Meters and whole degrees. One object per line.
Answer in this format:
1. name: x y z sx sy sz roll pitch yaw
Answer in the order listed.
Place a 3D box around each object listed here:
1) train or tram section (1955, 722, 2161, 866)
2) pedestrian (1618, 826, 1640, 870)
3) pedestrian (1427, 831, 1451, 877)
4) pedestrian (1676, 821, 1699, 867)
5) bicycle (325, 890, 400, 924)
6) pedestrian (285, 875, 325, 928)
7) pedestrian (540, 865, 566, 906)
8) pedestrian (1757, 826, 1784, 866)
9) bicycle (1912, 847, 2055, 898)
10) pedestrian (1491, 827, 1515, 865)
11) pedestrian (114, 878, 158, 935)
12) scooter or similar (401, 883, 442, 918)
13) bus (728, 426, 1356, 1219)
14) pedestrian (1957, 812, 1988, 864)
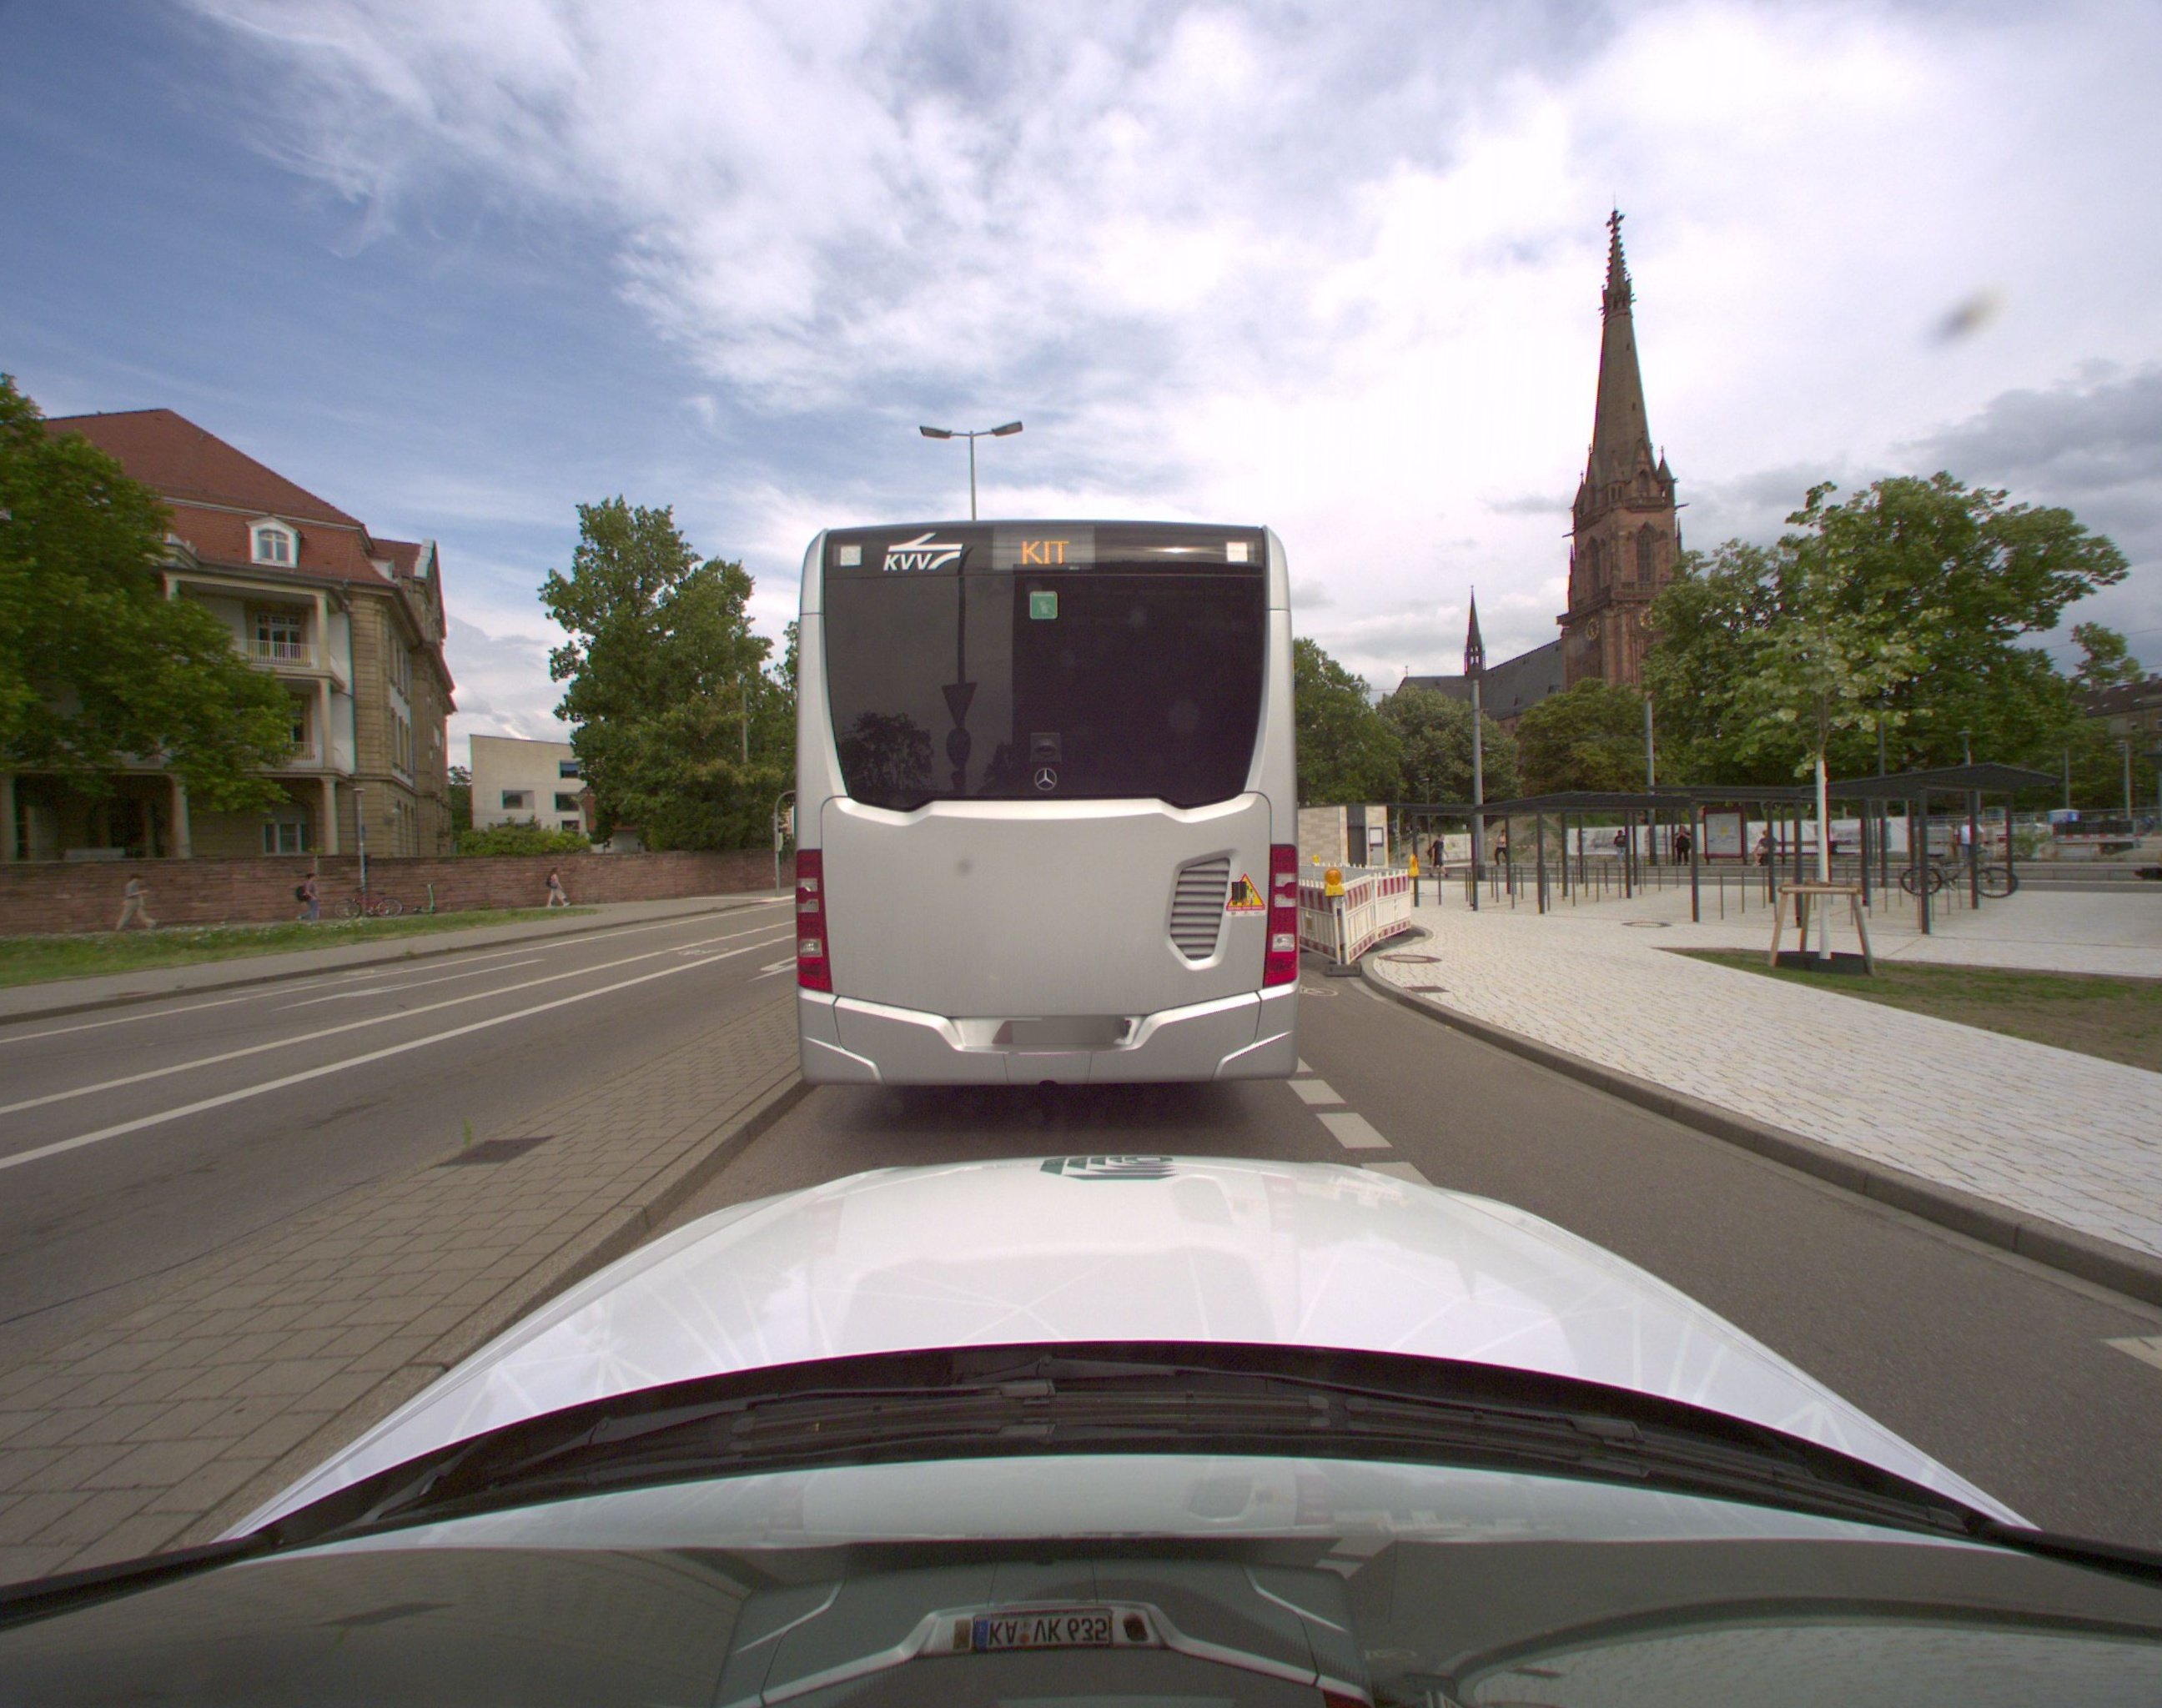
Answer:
1. train or tram section: 26.788 -1.415 18.393 3.076 3.276 9.270 -3 3 -35
2. pedestrian: 23.238 -0.257 34.510 0.526 1.800 0.670 -4 3 -42
3. pedestrian: 13.365 -0.005 30.388 0.534 1.654 0.623 -3 3 -36
4. pedestrian: 24.476 -0.411 32.861 0.526 1.800 0.670 -4 3 -42
5. bicycle: -25.700 1.884 29.166 1.937 1.005 0.770 -4 3 -42
6. pedestrian: -25.757 1.561 27.034 0.570 1.654 0.787 0 3 33
7. pedestrian: -21.838 1.290 33.683 0.525 1.654 0.634 0 3 31
8. pedestrian: 26.062 -0.307 30.785 0.694 1.485 0.670 -4 3 -42
9. bicycle: 18.739 0.347 16.959 0.587 0.955 1.944 -3 3 -38
10. pedestrian: 20.232 -0.391 39.048 0.816 1.800 0.755 -1 2 11
11. pedestrian: -29.203 1.610 25.178 0.570 1.654 0.787 0 3 38
12. scooter or similar: -24.479 1.710 30.239 0.519 1.139 1.513 -2 3 -13
13. bus: 0.006 -0.107 10.695 2.695 3.438 14.187 -1 0 1
14. pedestrian: 29.678 -0.549 27.109 0.714 1.677 0.670 -4 3 -42
